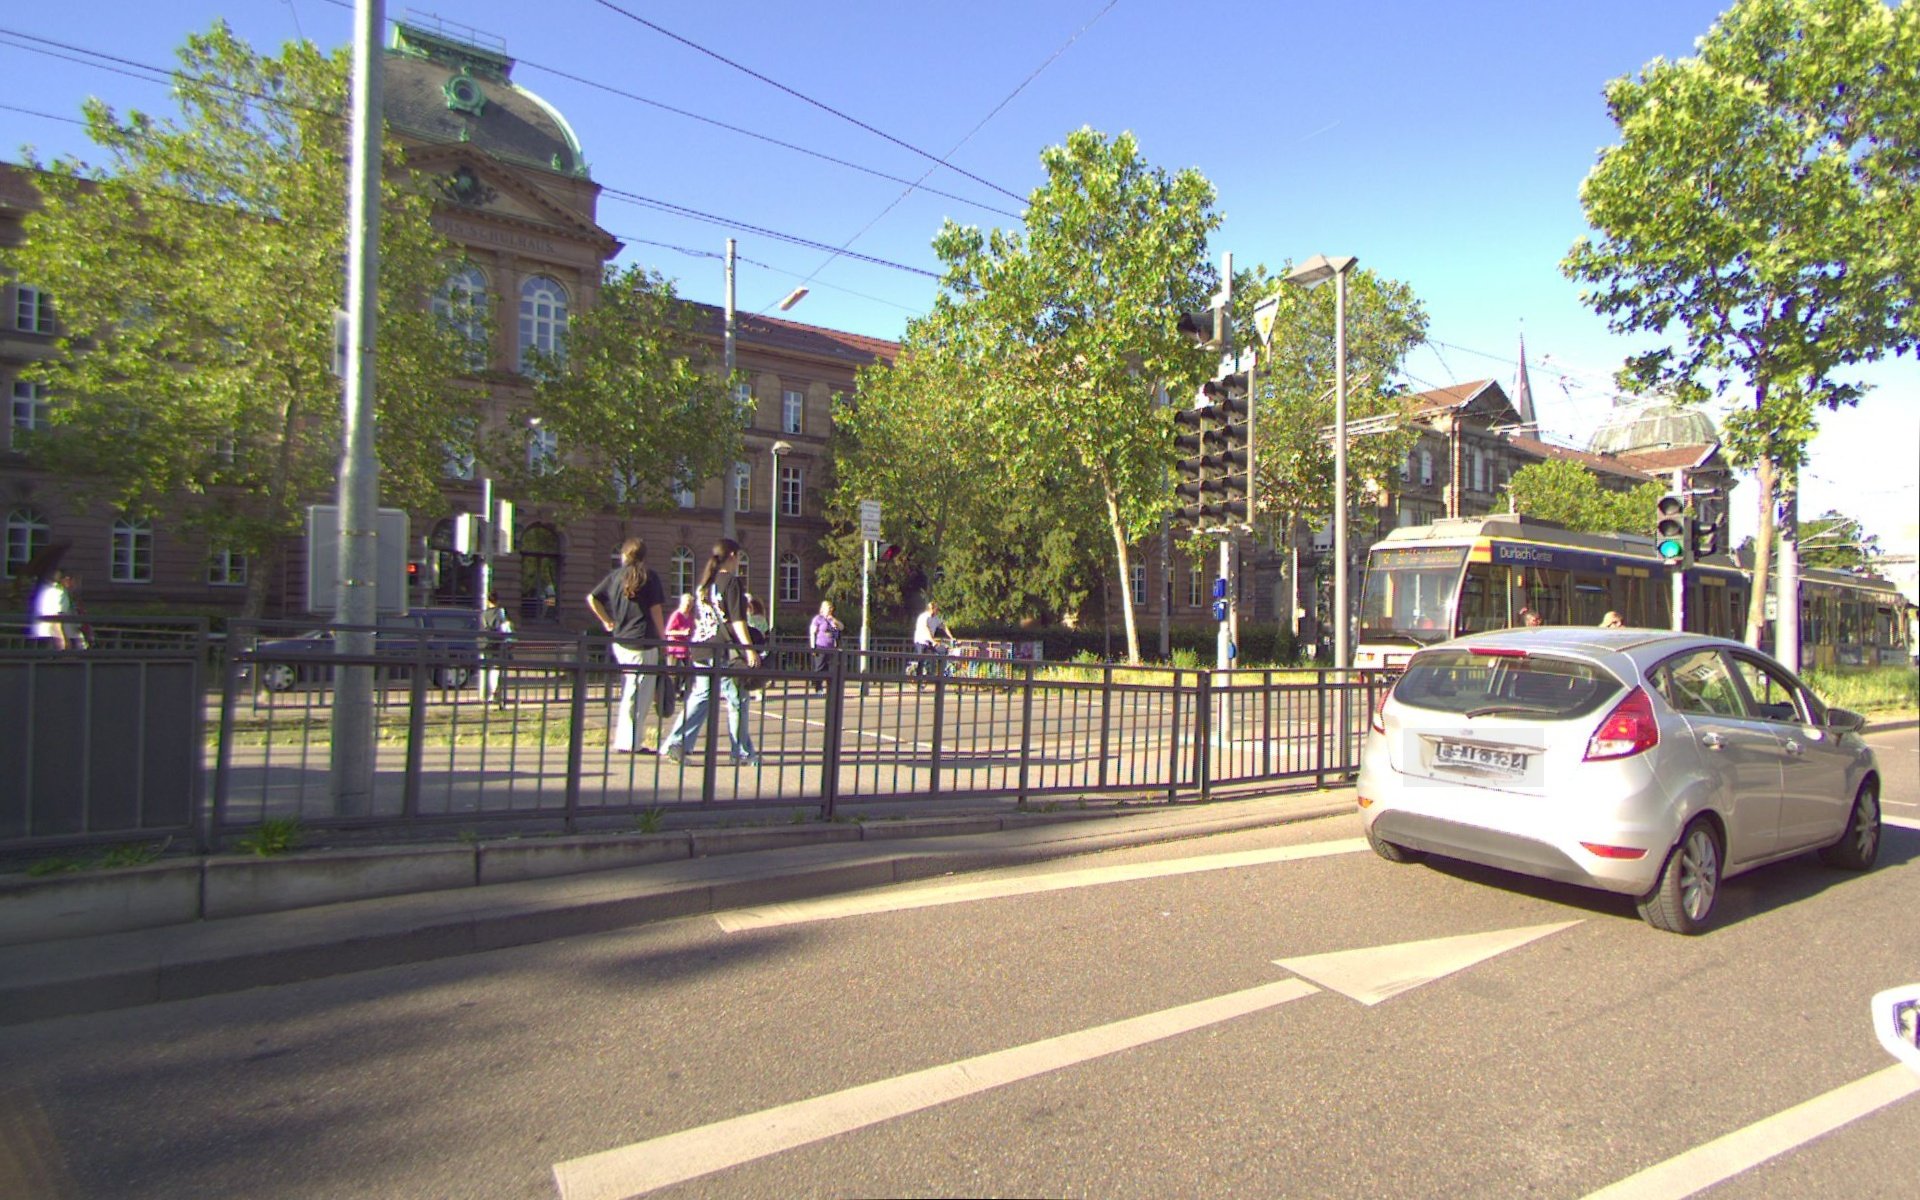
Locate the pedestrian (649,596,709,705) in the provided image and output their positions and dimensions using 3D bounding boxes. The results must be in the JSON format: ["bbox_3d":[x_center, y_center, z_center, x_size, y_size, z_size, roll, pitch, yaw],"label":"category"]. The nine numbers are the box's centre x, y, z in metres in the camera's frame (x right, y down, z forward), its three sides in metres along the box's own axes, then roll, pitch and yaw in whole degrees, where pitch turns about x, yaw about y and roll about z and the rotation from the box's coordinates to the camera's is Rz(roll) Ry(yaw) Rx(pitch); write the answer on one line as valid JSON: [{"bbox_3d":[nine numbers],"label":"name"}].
[{"bbox_3d":[-4.437,0.783,15.863,0.704,1.671,0.626,2,-2,-38],"label":"pedestrian"}]

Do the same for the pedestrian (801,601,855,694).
[{"bbox_3d":[-2.338,0.832,17.800,0.699,1.603,0.613,2,-2,-38],"label":"pedestrian"}]

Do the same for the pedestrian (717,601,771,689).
[{"bbox_3d":[-4.000,0.823,18.582,0.770,1.582,0.704,2,-2,-30],"label":"pedestrian"}]

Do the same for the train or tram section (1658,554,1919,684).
[{"bbox_3d":[25.458,0.772,30.413,12.988,3.303,2.894,3,-1,-36],"label":"train or tram section"}]

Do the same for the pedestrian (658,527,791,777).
[{"bbox_3d":[-1.746,0.376,7.438,0.740,1.724,0.628,2,-2,-38],"label":"pedestrian"}]

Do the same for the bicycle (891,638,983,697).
[{"bbox_3d":[-0.449,1.266,19.135,0.830,0.999,1.649,2,-1,-44],"label":"bicycle"}]

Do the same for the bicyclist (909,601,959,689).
[{"bbox_3d":[-0.501,0.857,19.275,0.655,1.648,0.653,2,-1,-45],"label":"bicyclist"}]

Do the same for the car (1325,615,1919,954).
[{"bbox_3d":[4.044,0.871,6.005,3.593,1.428,1.651,3,-1,-33],"label":"car"}]

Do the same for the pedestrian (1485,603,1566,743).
[{"bbox_3d":[6.638,0.839,11.791,0.641,1.577,0.626,2,-2,-38],"label":"pedestrian"}]

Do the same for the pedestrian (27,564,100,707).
[{"bbox_3d":[-11.266,0.445,12.636,0.538,1.750,0.522,2,-2,-30],"label":"pedestrian"}]

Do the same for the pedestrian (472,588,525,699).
[{"bbox_3d":[-7.205,0.671,15.702,0.700,1.686,0.629,2,-1,-24],"label":"pedestrian"}]

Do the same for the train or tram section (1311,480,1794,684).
[{"bbox_3d":[13.802,0.063,22.019,15.739,3.303,2.895,3,-1,-35],"label":"train or tram section"}]

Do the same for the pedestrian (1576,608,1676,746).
[{"bbox_3d":[8.380,0.943,12.677,0.926,1.650,0.628,1,-1,24],"label":"pedestrian"}]

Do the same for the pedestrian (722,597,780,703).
[{"bbox_3d":[-3.424,0.810,16.450,0.699,1.701,0.613,2,-2,-38],"label":"pedestrian"}]

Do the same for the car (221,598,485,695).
[{"bbox_3d":[-11.831,0.921,19.753,4.187,1.684,1.981,3,0,-35],"label":"car"}]

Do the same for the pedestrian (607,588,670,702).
[{"bbox_3d":[-5.099,0.702,15.941,0.620,1.766,0.710,1,-1,18],"label":"pedestrian"}]

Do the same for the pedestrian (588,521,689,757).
[{"bbox_3d":[-2.480,0.295,7.740,0.541,1.724,0.604,2,-2,-38],"label":"pedestrian"}]
